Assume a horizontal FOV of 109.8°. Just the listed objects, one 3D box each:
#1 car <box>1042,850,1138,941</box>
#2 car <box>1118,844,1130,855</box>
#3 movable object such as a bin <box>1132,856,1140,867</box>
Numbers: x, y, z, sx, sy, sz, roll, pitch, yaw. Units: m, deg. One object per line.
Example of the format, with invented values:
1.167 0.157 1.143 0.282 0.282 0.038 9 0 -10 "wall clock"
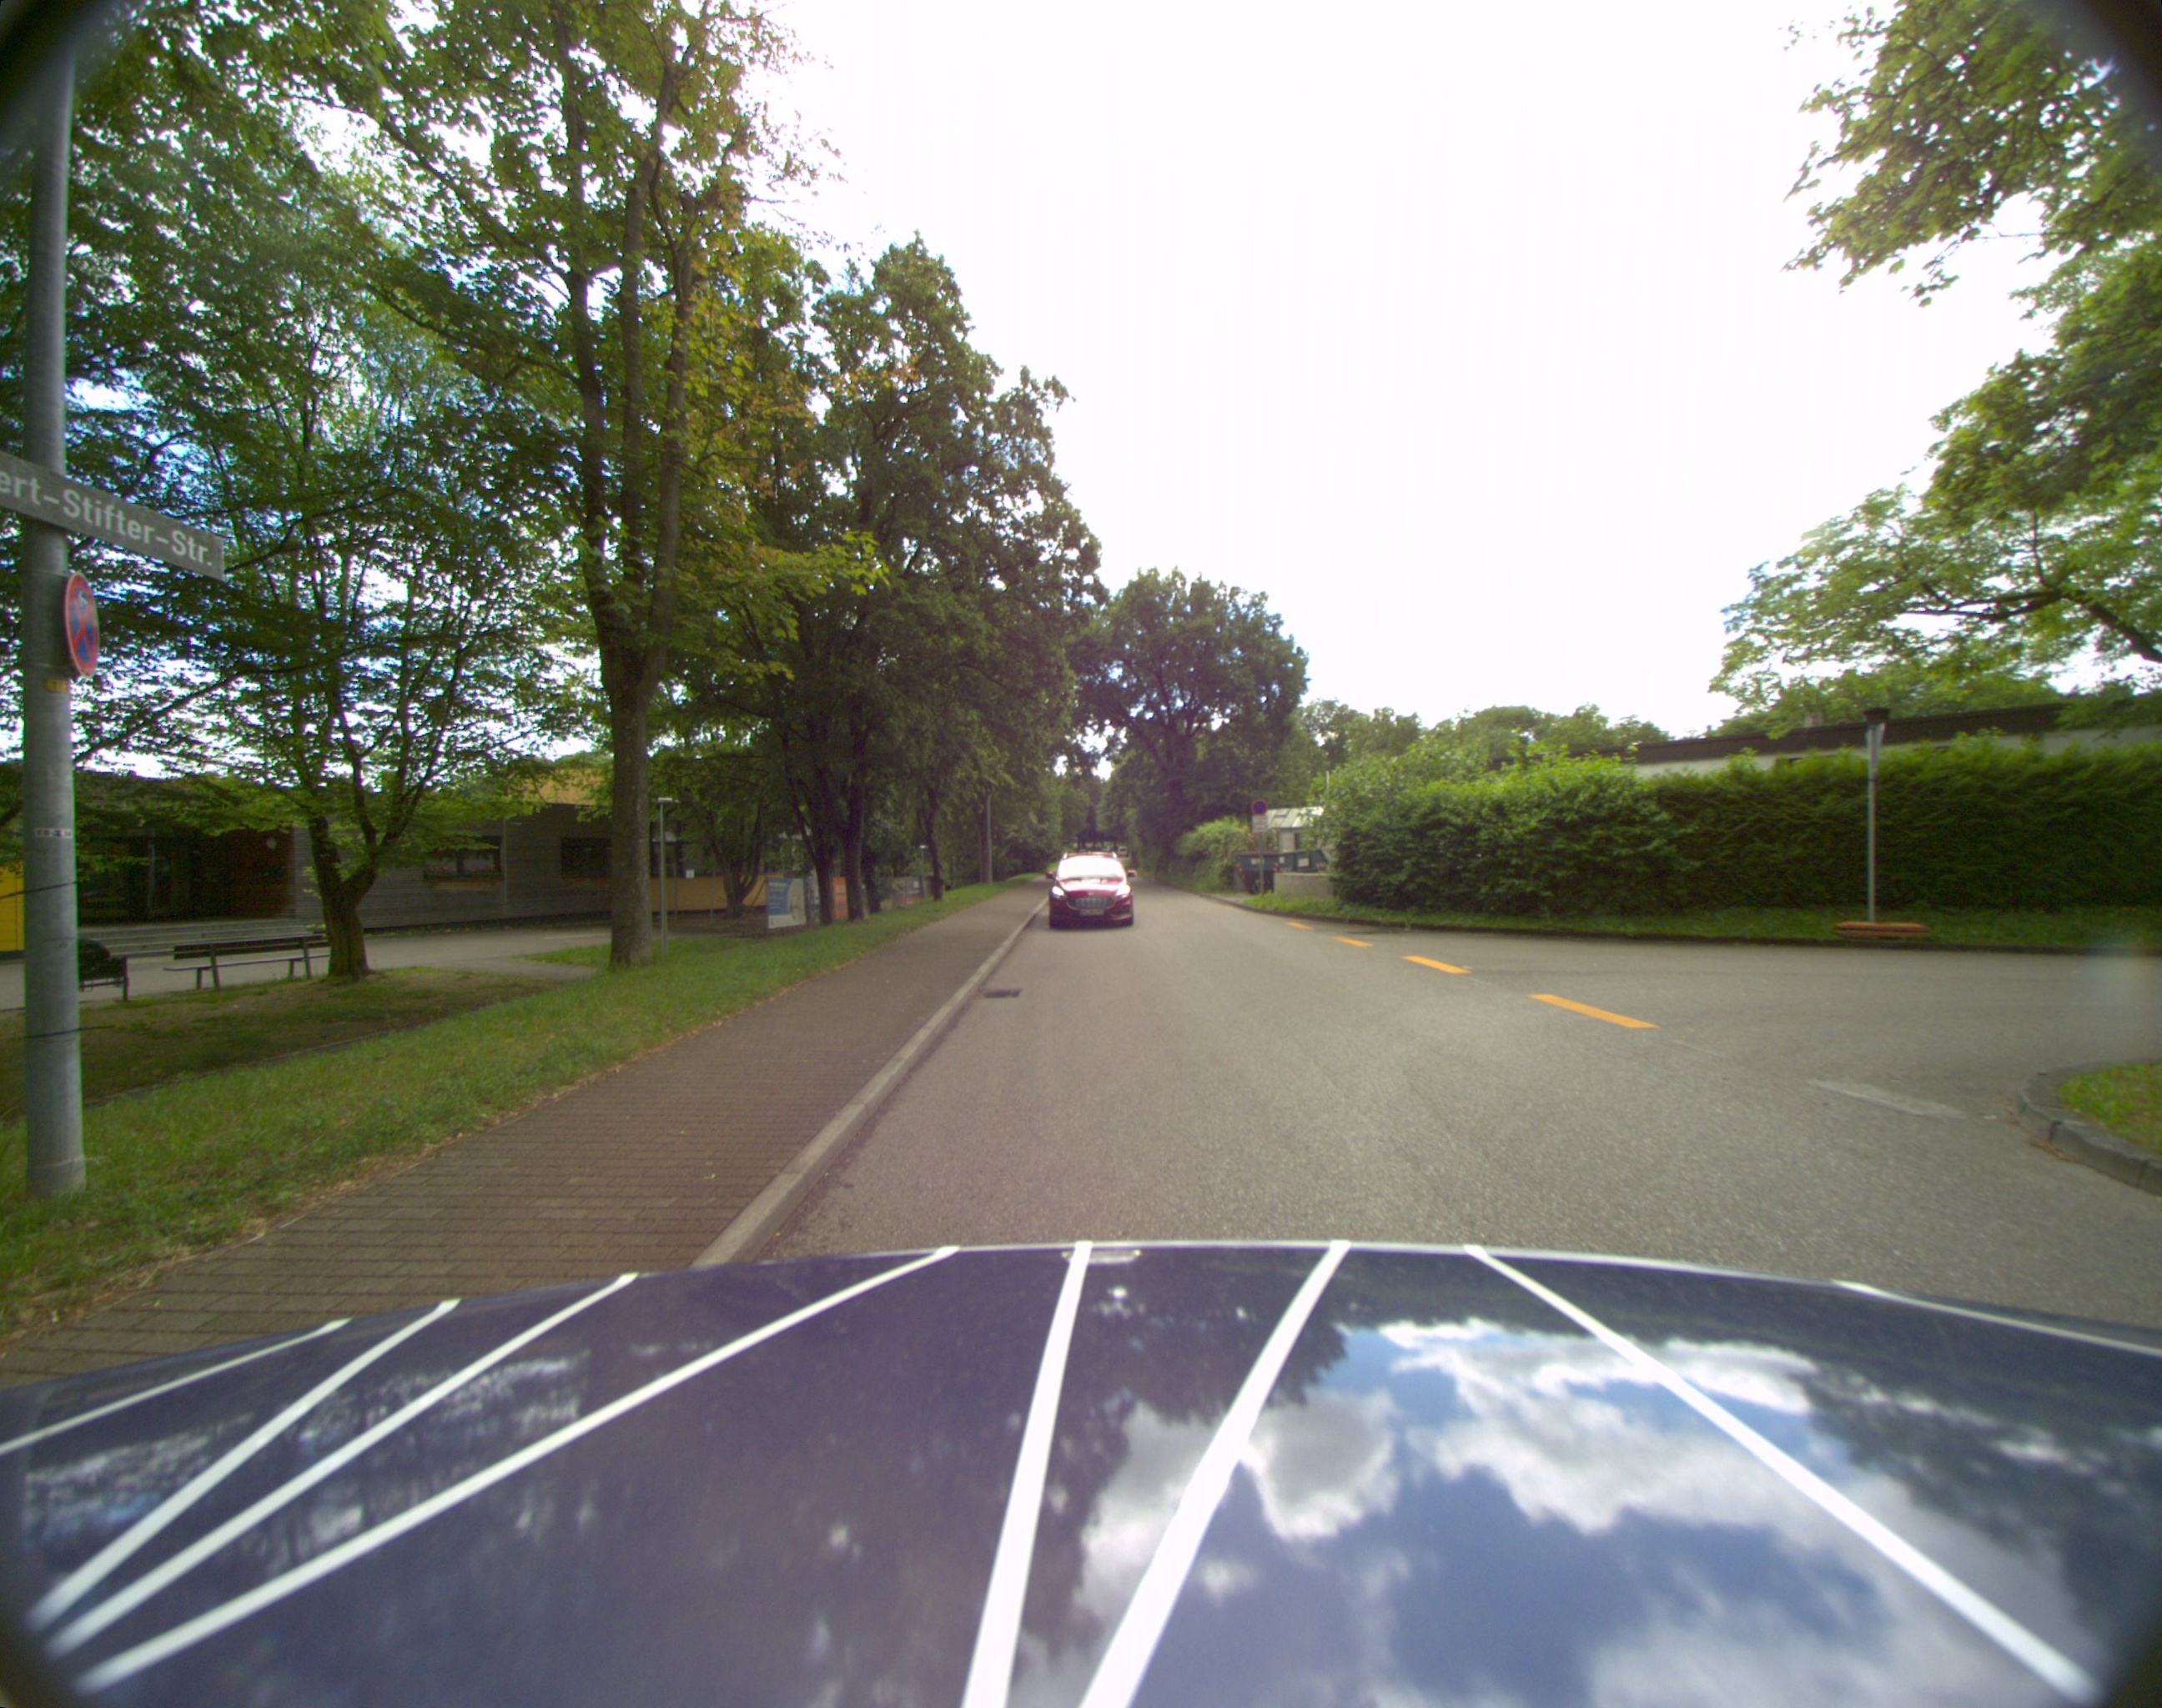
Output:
0.328 0.831 17.334 1.816 1.718 4.001 1 2 6 "car"
7.535 -0.842 134.812 1.878 1.903 4.430 0 1 0 "car"
5.235 0.690 72.809 0.649 1.007 0.632 0 2 16 "movable object such as a bin"
